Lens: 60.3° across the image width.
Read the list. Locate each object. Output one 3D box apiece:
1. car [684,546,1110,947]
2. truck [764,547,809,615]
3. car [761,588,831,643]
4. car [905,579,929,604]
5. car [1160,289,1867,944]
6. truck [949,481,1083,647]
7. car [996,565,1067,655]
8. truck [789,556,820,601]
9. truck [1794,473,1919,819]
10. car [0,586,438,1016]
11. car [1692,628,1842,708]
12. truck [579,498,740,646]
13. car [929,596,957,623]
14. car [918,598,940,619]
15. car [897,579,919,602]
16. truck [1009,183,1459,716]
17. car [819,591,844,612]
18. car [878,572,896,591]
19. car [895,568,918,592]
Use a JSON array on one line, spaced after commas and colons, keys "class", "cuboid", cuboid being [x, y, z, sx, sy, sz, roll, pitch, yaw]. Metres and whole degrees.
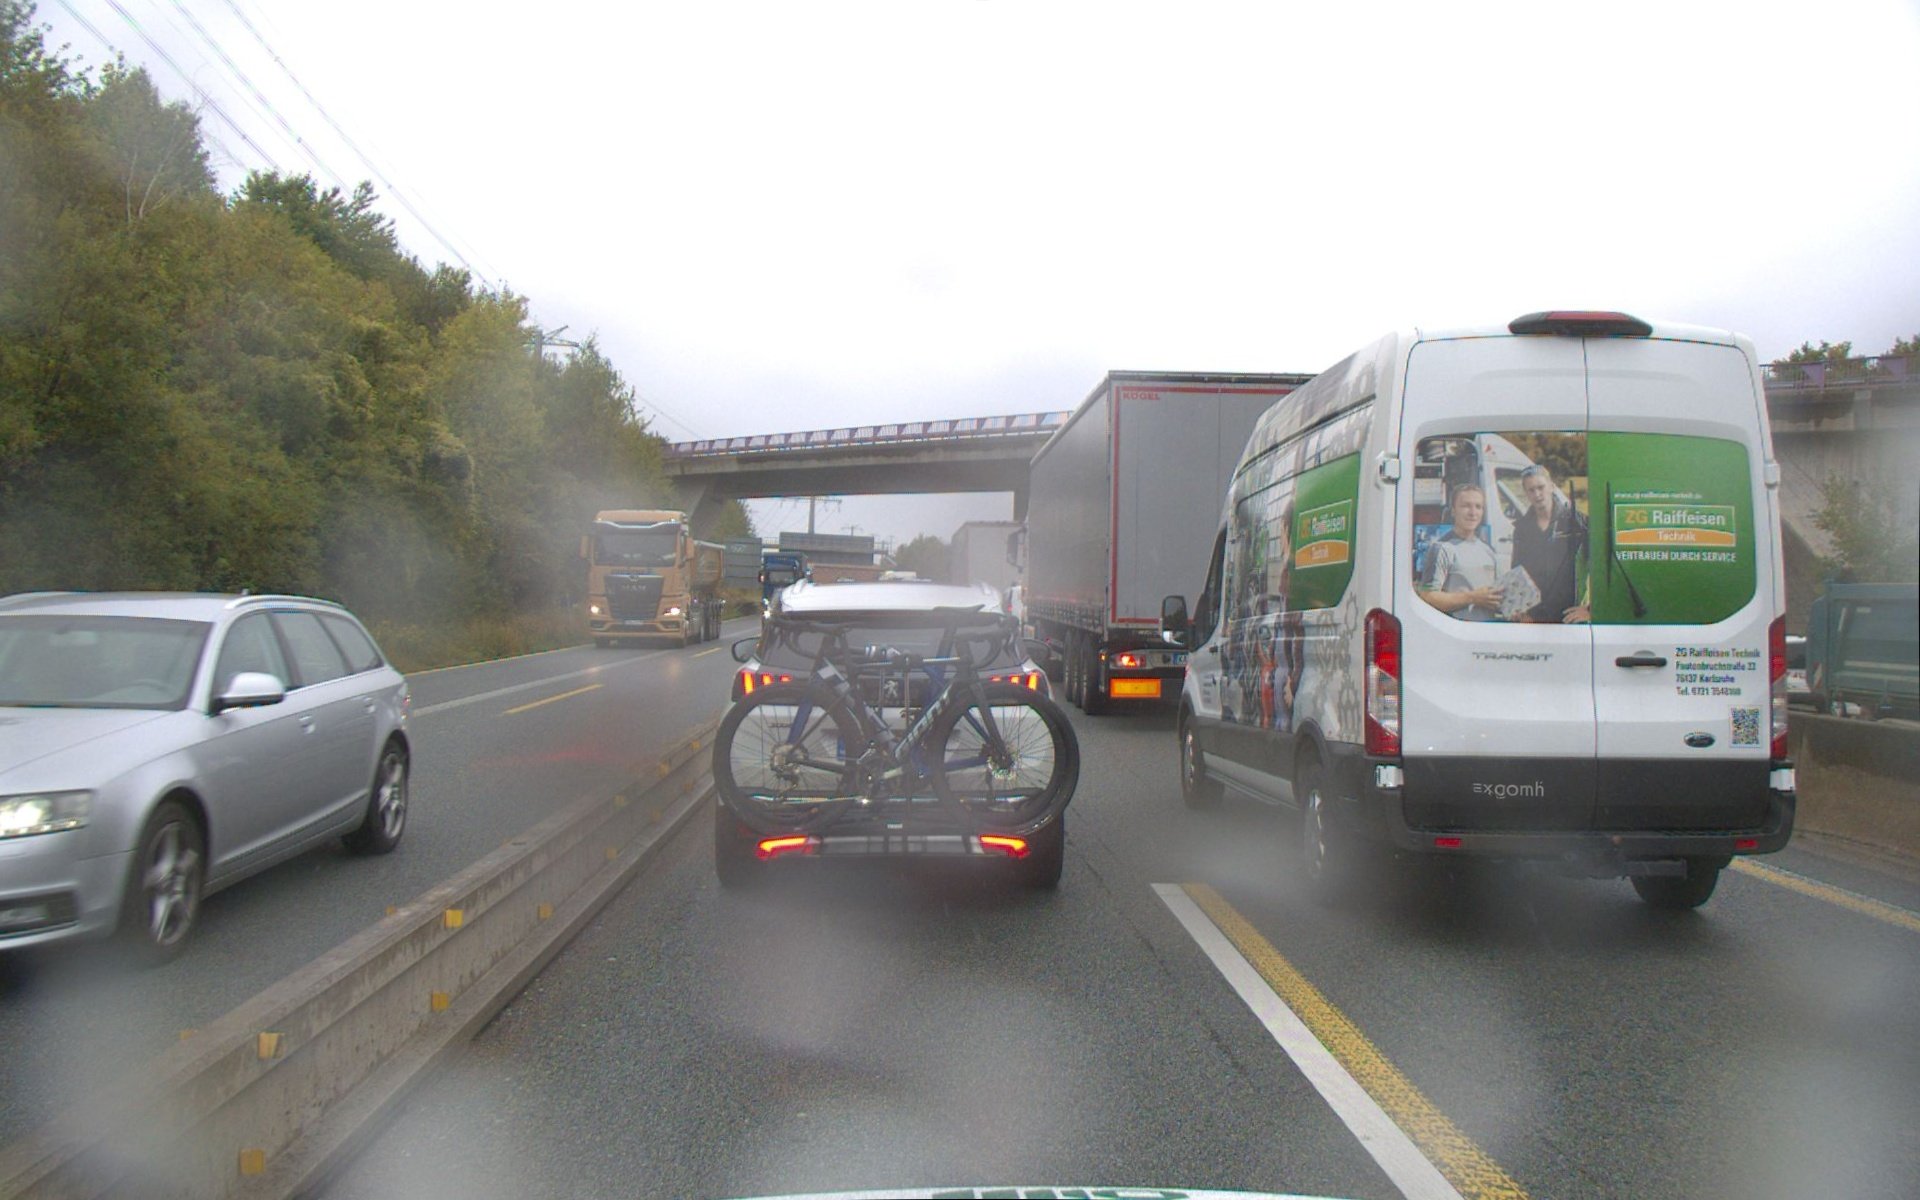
[{"class": "car", "cuboid": [-0.264, 0.626, 9.283, 1.773, 1.666, 4.635, 1, 0, 0]}, {"class": "truck", "cuboid": [-11.813, -1.164, 111.711, 2.713, 4.195, 16.902, 1, 0, -7]}, {"class": "car", "cuboid": [-5.144, 0.484, 52.339, 1.896, 1.635, 4.118, 1, 0, -1]}, {"class": "car", "cuboid": [-3.534, -0.693, 137.021, 1.953, 2.049, 3.999, 1, 0, -1]}, {"class": "car", "cuboid": [2.705, 0.084, 10.006, 2.101, 2.723, 6.115, 1, 0, -1]}, {"class": "truck", "cuboid": [1.968, -1.233, 68.281, 4.646, 5.772, 20.374, 1, 0, 0]}, {"class": "car", "cuboid": [1.831, 0.248, 43.484, 1.636, 2.218, 4.534, 1, 0, 0]}, {"class": "truck", "cuboid": [-15.240, -2.043, 162.401, 2.414, 4.195, 10.083, 1, 0, -2]}, {"class": "truck", "cuboid": [10.111, 0.426, 12.860, 2.469, 3.186, 9.116, 1, 0, -1]}, {"class": "car", "cuboid": [-3.954, 0.687, 7.789, 1.744, 1.469, 4.326, 1, 0, -2]}, {"class": "car", "cuboid": [20.301, 1.671, 41.787, 1.809, 1.840, 4.157, 1, 0, 1]}, {"class": "truck", "cuboid": [-8.456, -0.691, 48.268, 2.627, 3.720, 12.308, 1, 0, -1]}, {"class": "car", "cuboid": [-1.030, 0.572, 98.250, 1.605, 1.524, 3.665, 1, 0, -1]}, {"class": "car", "cuboid": [-2.306, 0.616, 122.648, 1.605, 1.524, 3.665, 1, 0, -1]}, {"class": "car", "cuboid": [-4.830, -0.837, 153.393, 1.953, 2.049, 3.999, 1, 0, -1]}, {"class": "truck", "cuboid": [3.306, -1.602, 28.260, 3.899, 5.772, 20.370, 1, 0, -1]}, {"class": "car", "cuboid": [-10.103, 0.119, 130.244, 1.748, 1.638, 4.102, 1, 0, -2]}, {"class": "car", "cuboid": [-8.463, -2.116, 192.422, 1.953, 2.164, 4.525, 1, 0, -1]}, {"class": "car", "cuboid": [-5.377, -1.972, 166.068, 2.194, 2.348, 4.570, 1, 0, -1]}]
